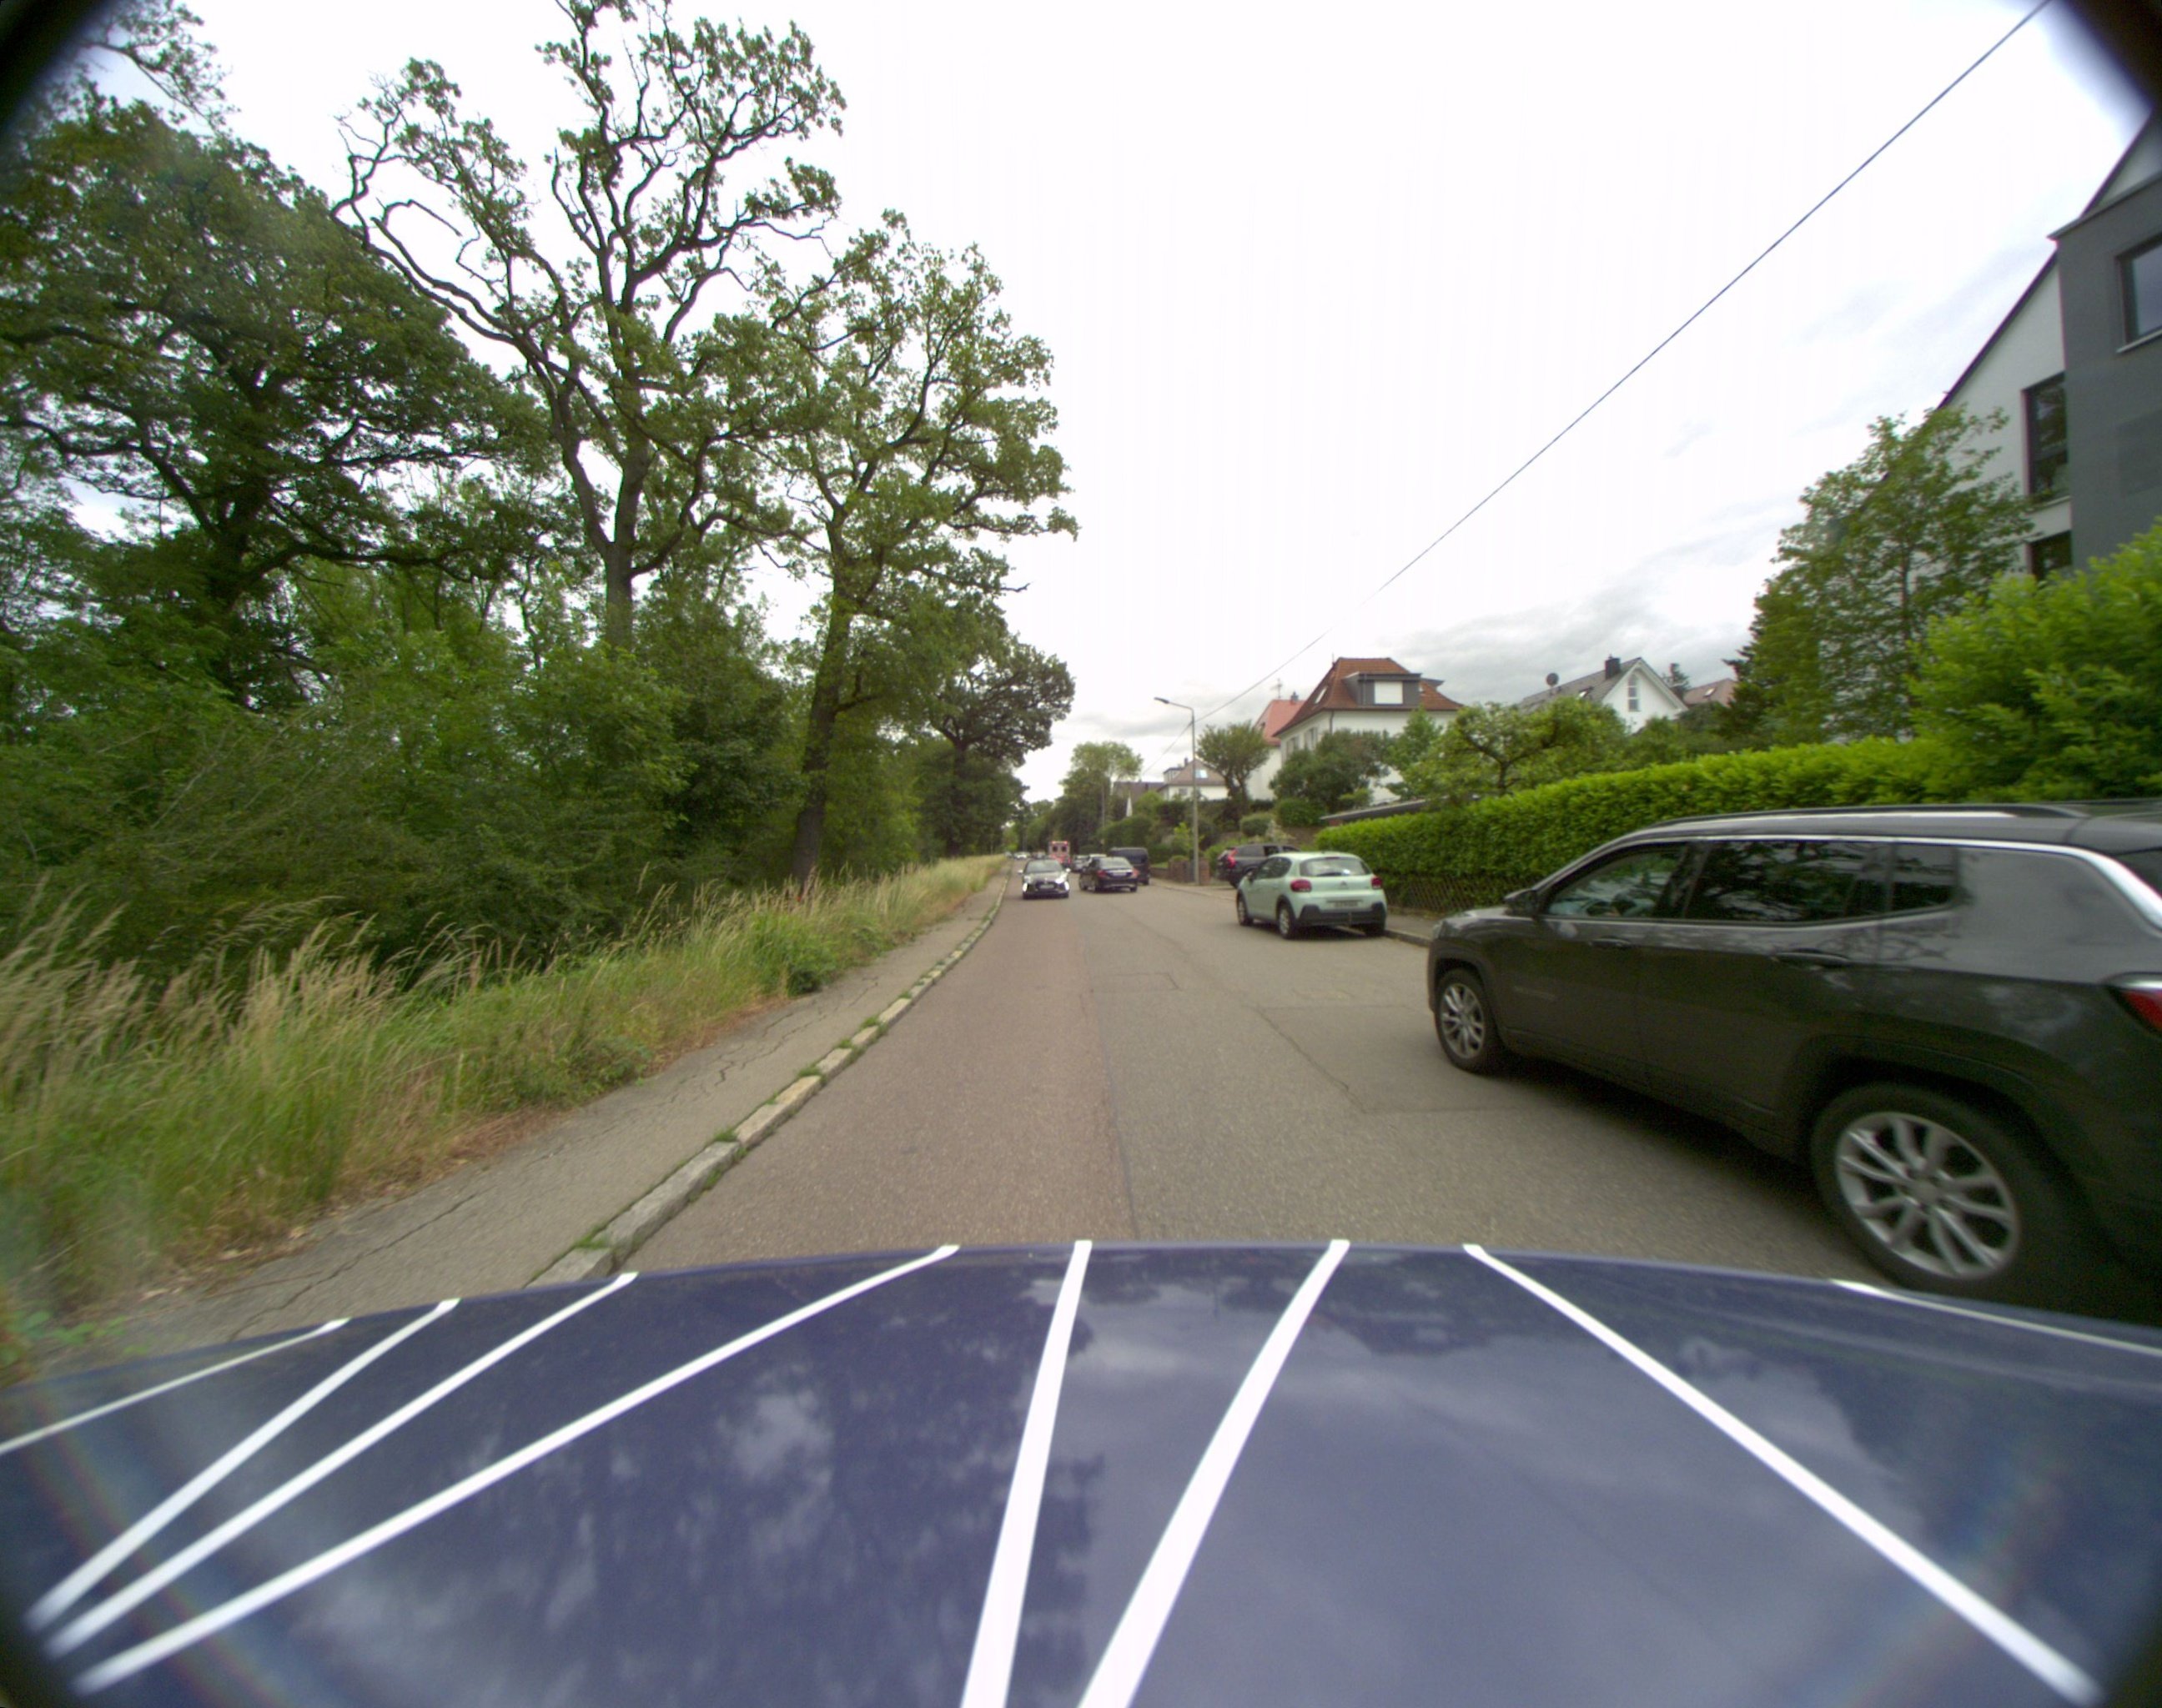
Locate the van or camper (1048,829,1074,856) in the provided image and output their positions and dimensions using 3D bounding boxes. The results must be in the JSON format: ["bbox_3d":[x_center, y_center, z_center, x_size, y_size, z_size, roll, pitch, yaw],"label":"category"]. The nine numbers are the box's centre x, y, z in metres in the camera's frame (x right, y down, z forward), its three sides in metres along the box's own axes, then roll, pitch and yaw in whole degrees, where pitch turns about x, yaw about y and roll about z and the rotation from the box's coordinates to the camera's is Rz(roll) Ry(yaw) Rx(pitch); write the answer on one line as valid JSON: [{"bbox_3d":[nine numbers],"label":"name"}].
[{"bbox_3d":[-2.333,-1.302,86.225,2.463,2.878,7.163,0,1,-5],"label":"van or camper"}]

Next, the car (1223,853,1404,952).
[{"bbox_3d":[4.123,0.772,14.226,1.789,1.491,4.012,-2,1,-6],"label":"car"}]

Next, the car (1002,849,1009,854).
[{"bbox_3d":[-24.548,-0.827,248.037,1.766,1.441,4.039,-2,1,-11],"label":"car"}]

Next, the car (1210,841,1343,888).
[{"bbox_3d":[7.613,0.383,29.756,4.631,1.687,1.998,-1,1,-8],"label":"car"}]

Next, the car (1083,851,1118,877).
[{"bbox_3d":[1.314,0.641,52.197,1.844,1.639,4.182,1,0,-6],"label":"car"}]

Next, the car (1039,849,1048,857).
[{"bbox_3d":[-8.206,-0.223,166.019,1.789,1.491,4.012,-2,1,-6],"label":"car"}]

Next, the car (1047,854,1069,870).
[{"bbox_3d":[-2.126,0.691,70.027,1.769,1.438,4.471,0,0,-5],"label":"car"}]

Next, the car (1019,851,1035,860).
[{"bbox_3d":[-11.353,0.259,159.925,1.997,1.678,4.714,-1,1,12],"label":"car"}]

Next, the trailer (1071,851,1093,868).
[{"bbox_3d":[0.059,0.519,70.274,1.768,1.487,4.471,0,0,-4],"label":"trailer"}]

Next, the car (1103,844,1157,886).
[{"bbox_3d":[2.412,0.513,38.672,1.868,1.915,5.035,-2,1,-5],"label":"car"}]

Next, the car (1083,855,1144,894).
[{"bbox_3d":[1.272,0.796,31.622,1.868,1.406,4.589,-2,1,-5],"label":"car"}]

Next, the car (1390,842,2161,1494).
[{"bbox_3d":[3.427,0.775,3.608,1.839,1.587,4.322,-2,0,-5],"label":"car"}]

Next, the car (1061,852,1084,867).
[{"bbox_3d":[-0.859,0.568,77.072,1.769,1.438,4.470,0,0,-8],"label":"car"}]

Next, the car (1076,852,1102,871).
[{"bbox_3d":[0.611,0.621,63.991,1.769,1.490,4.471,1,0,-5],"label":"car"}]

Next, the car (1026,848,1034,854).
[{"bbox_3d":[-13.784,-0.837,205.973,1.766,1.441,4.039,-2,1,-11],"label":"car"}]

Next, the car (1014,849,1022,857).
[{"bbox_3d":[-15.208,-0.225,183.104,1.999,1.678,4.708,-2,1,-5],"label":"car"}]

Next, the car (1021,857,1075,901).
[{"bbox_3d":[-1.328,0.895,29.261,1.789,1.491,4.012,-2,1,-6],"label":"car"}]
